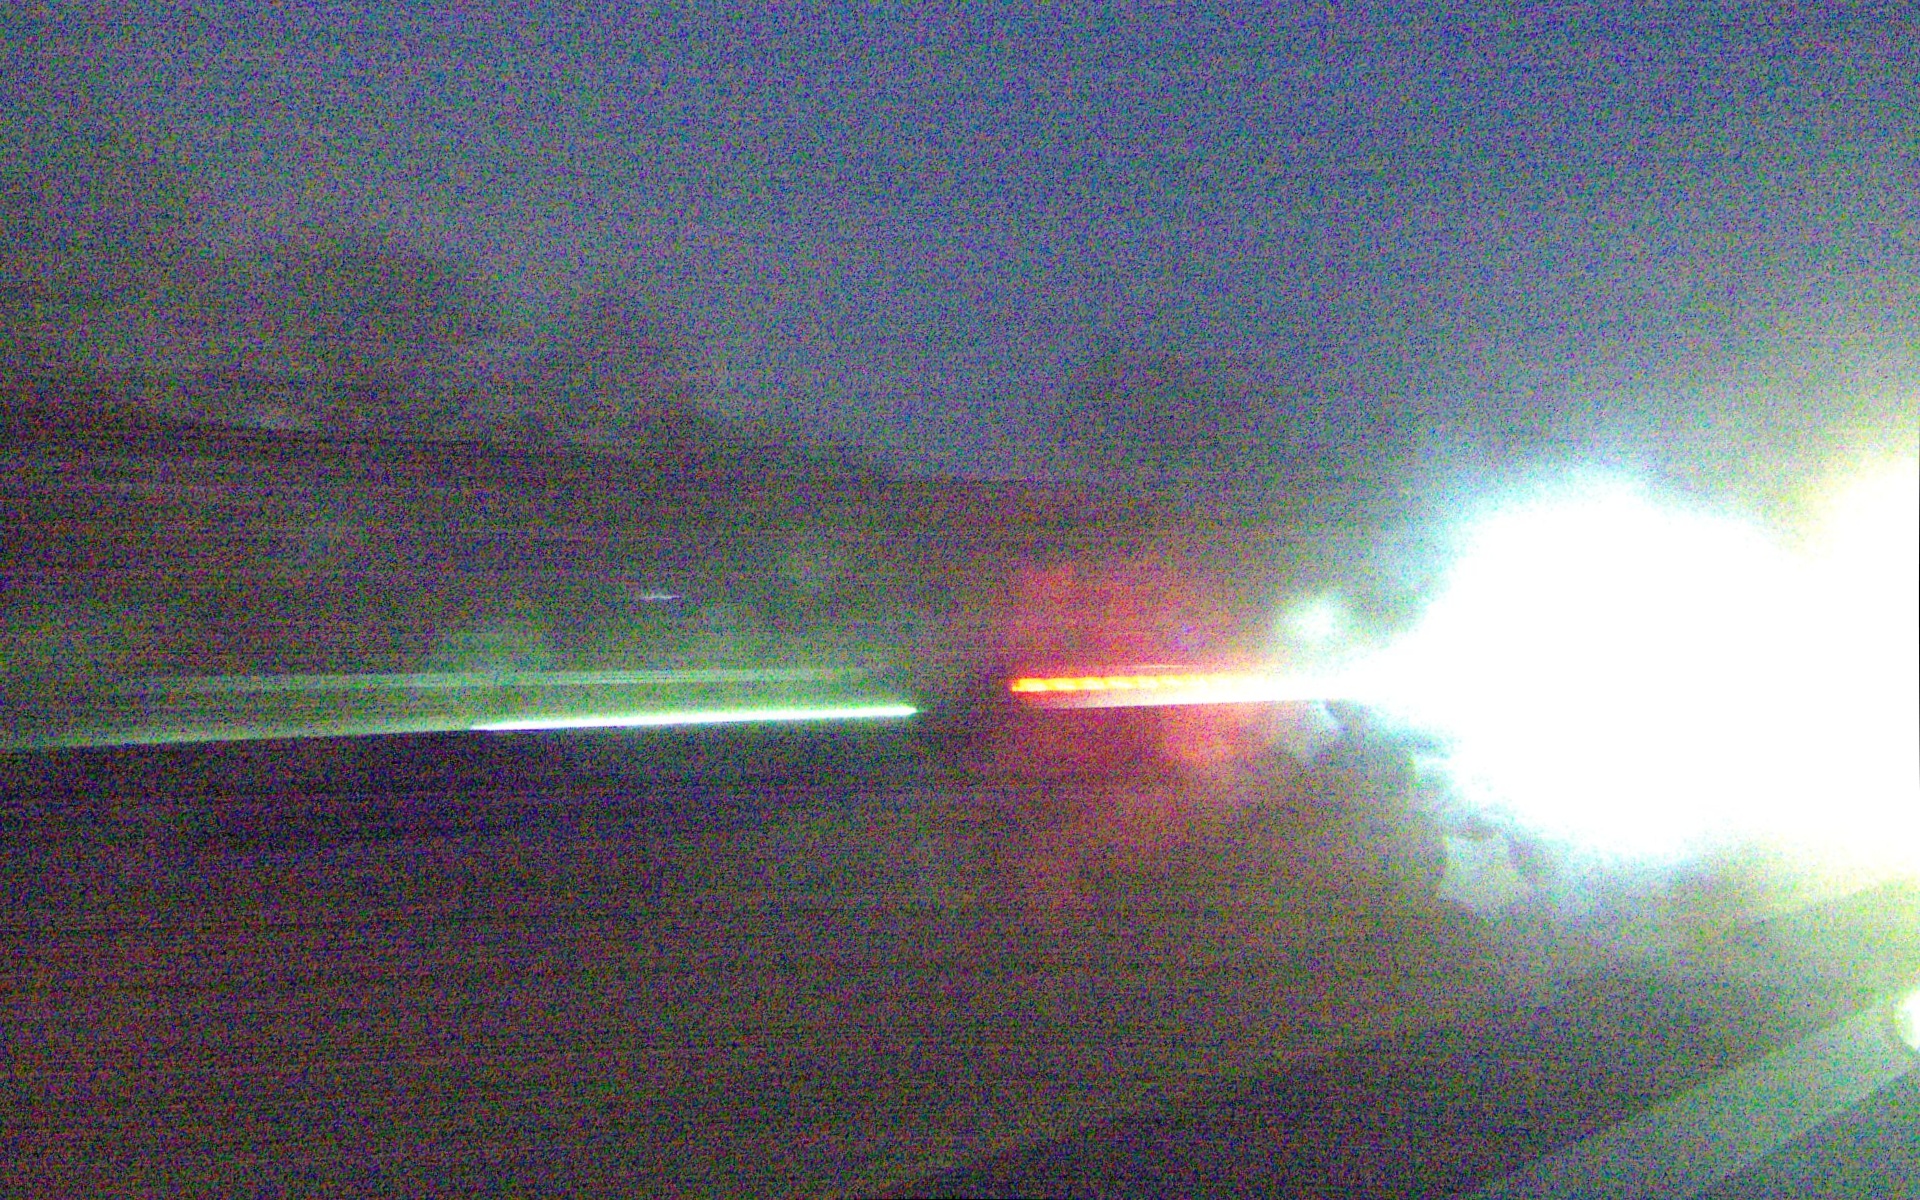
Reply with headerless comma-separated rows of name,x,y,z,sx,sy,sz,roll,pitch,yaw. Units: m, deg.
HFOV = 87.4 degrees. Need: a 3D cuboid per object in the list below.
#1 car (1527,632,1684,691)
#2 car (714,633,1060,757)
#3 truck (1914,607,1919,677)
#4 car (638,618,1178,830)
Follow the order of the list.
car,19.149,1.766,29.770,4.476,1.580,1.986,1,-1,-28
car,-0.967,1.201,13.915,4.384,1.459,1.984,1,-2,-30
truck,59.221,2.425,58.532,10.099,3.959,2.852,1,-1,-32
car,-0.394,0.924,8.913,4.384,1.459,1.984,1,-2,-30
